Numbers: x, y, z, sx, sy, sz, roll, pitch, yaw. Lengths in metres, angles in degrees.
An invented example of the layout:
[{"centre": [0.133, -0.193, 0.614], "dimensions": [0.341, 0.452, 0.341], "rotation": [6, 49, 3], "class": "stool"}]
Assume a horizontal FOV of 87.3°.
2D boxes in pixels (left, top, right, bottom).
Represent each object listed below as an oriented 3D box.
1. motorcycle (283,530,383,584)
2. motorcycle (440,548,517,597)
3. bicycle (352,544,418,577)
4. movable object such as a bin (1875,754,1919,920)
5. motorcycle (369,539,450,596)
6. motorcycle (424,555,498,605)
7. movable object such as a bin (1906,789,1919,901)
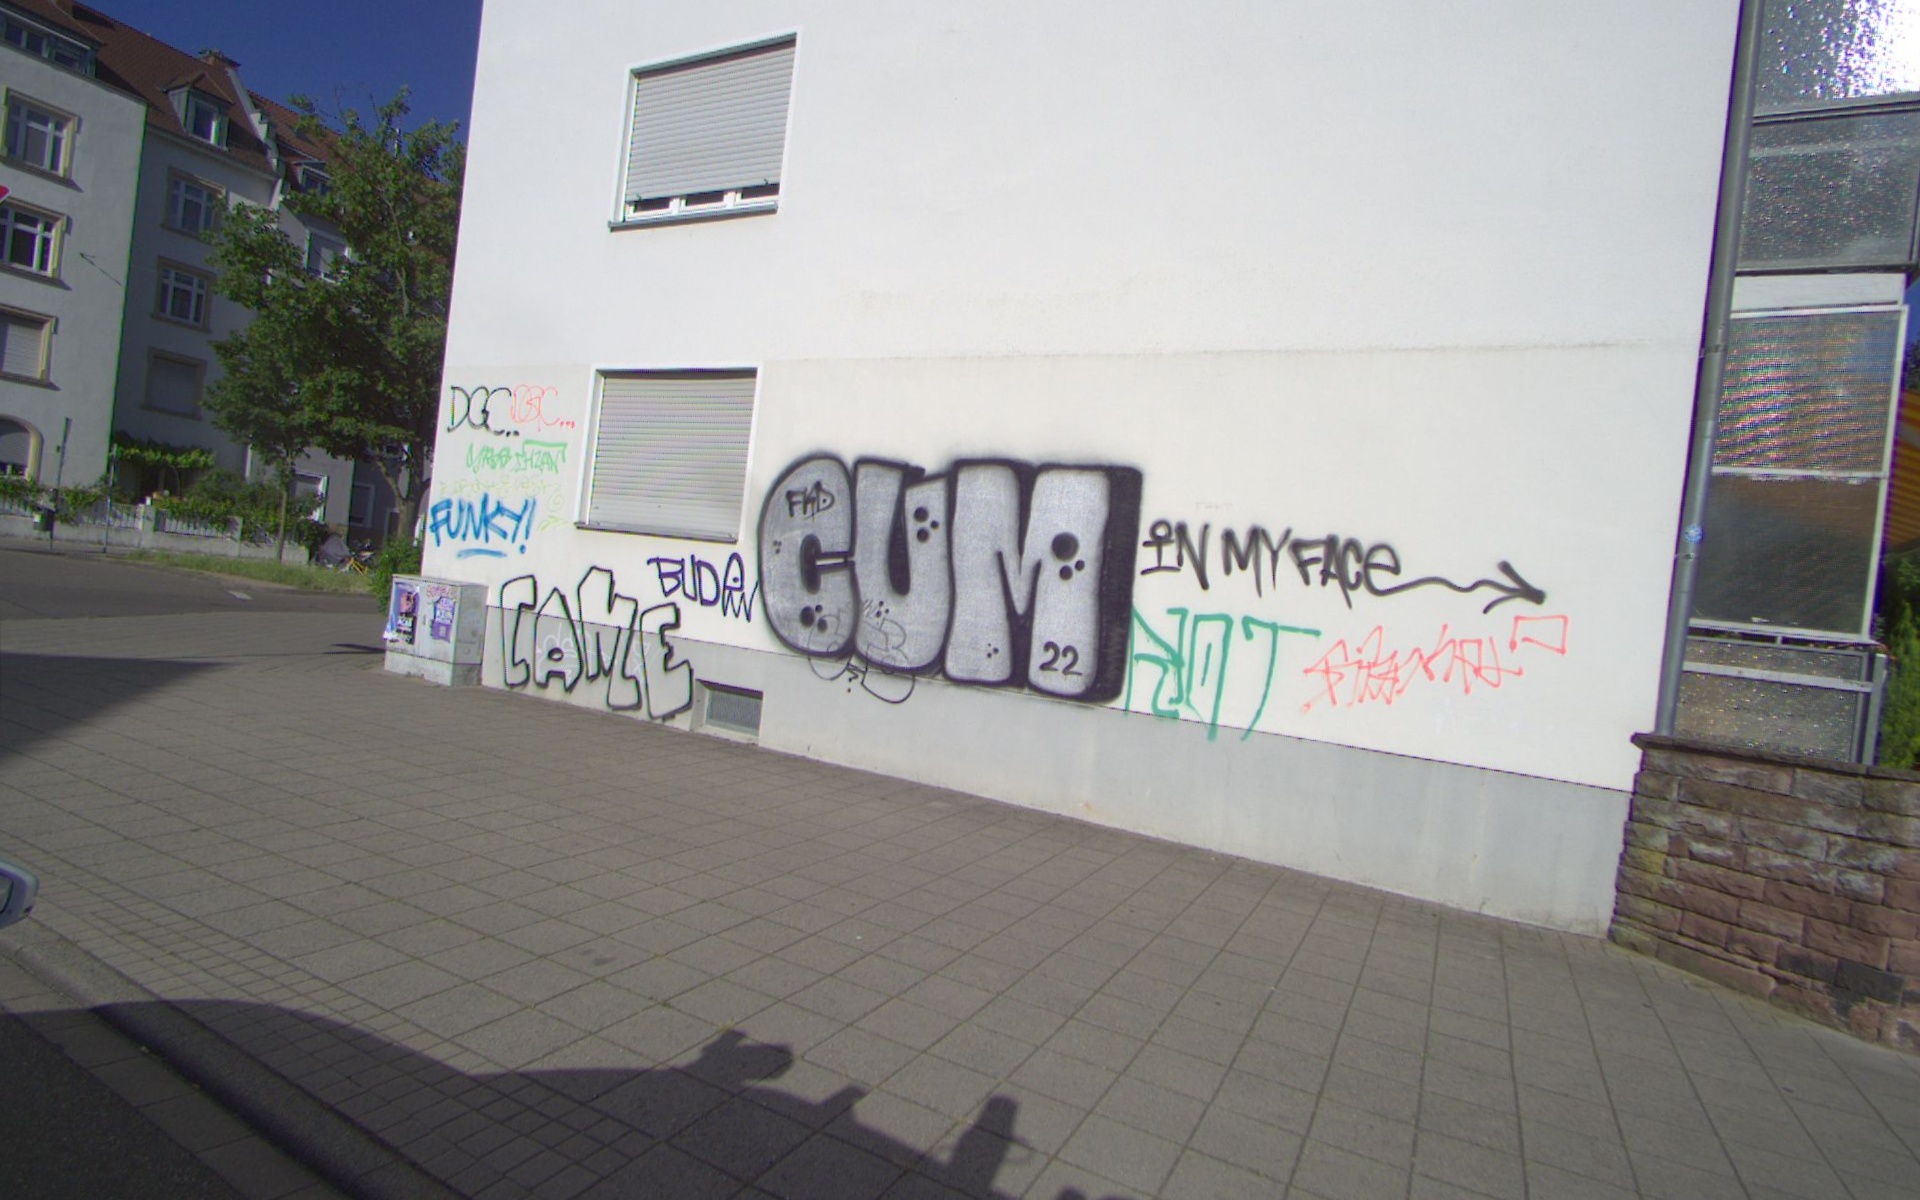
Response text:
[{"centre": [-18.920, -1.303, 30.352], "dimensions": [2.733, 1.283, 1.126], "rotation": [7, 0, 24], "class": "motorcycle"}, {"centre": [-15.387, -0.881, 32.130], "dimensions": [2.203, 1.283, 1.050], "rotation": [7, 0, 29], "class": "motorcycle"}, {"centre": [-23.724, -1.609, 41.582], "dimensions": [0.671, 1.072, 2.252], "rotation": [7, 0, 31], "class": "bicycle"}, {"centre": [7.224, 1.740, 7.149], "dimensions": [0.789, 1.119, 0.571], "rotation": [7, 1, 15], "class": "movable object such as a bin"}, {"centre": [-15.496, -0.925, 28.302], "dimensions": [2.017, 1.344, 0.862], "rotation": [7, 0, 25], "class": "motorcycle"}, {"centre": [-13.530, -0.535, 27.263], "dimensions": [1.813, 1.086, 0.813], "rotation": [8, 1, 29], "class": "motorcycle"}, {"centre": [7.966, 1.853, 7.690], "dimensions": [0.789, 1.119, 0.571], "rotation": [7, 1, 15], "class": "movable object such as a bin"}]
